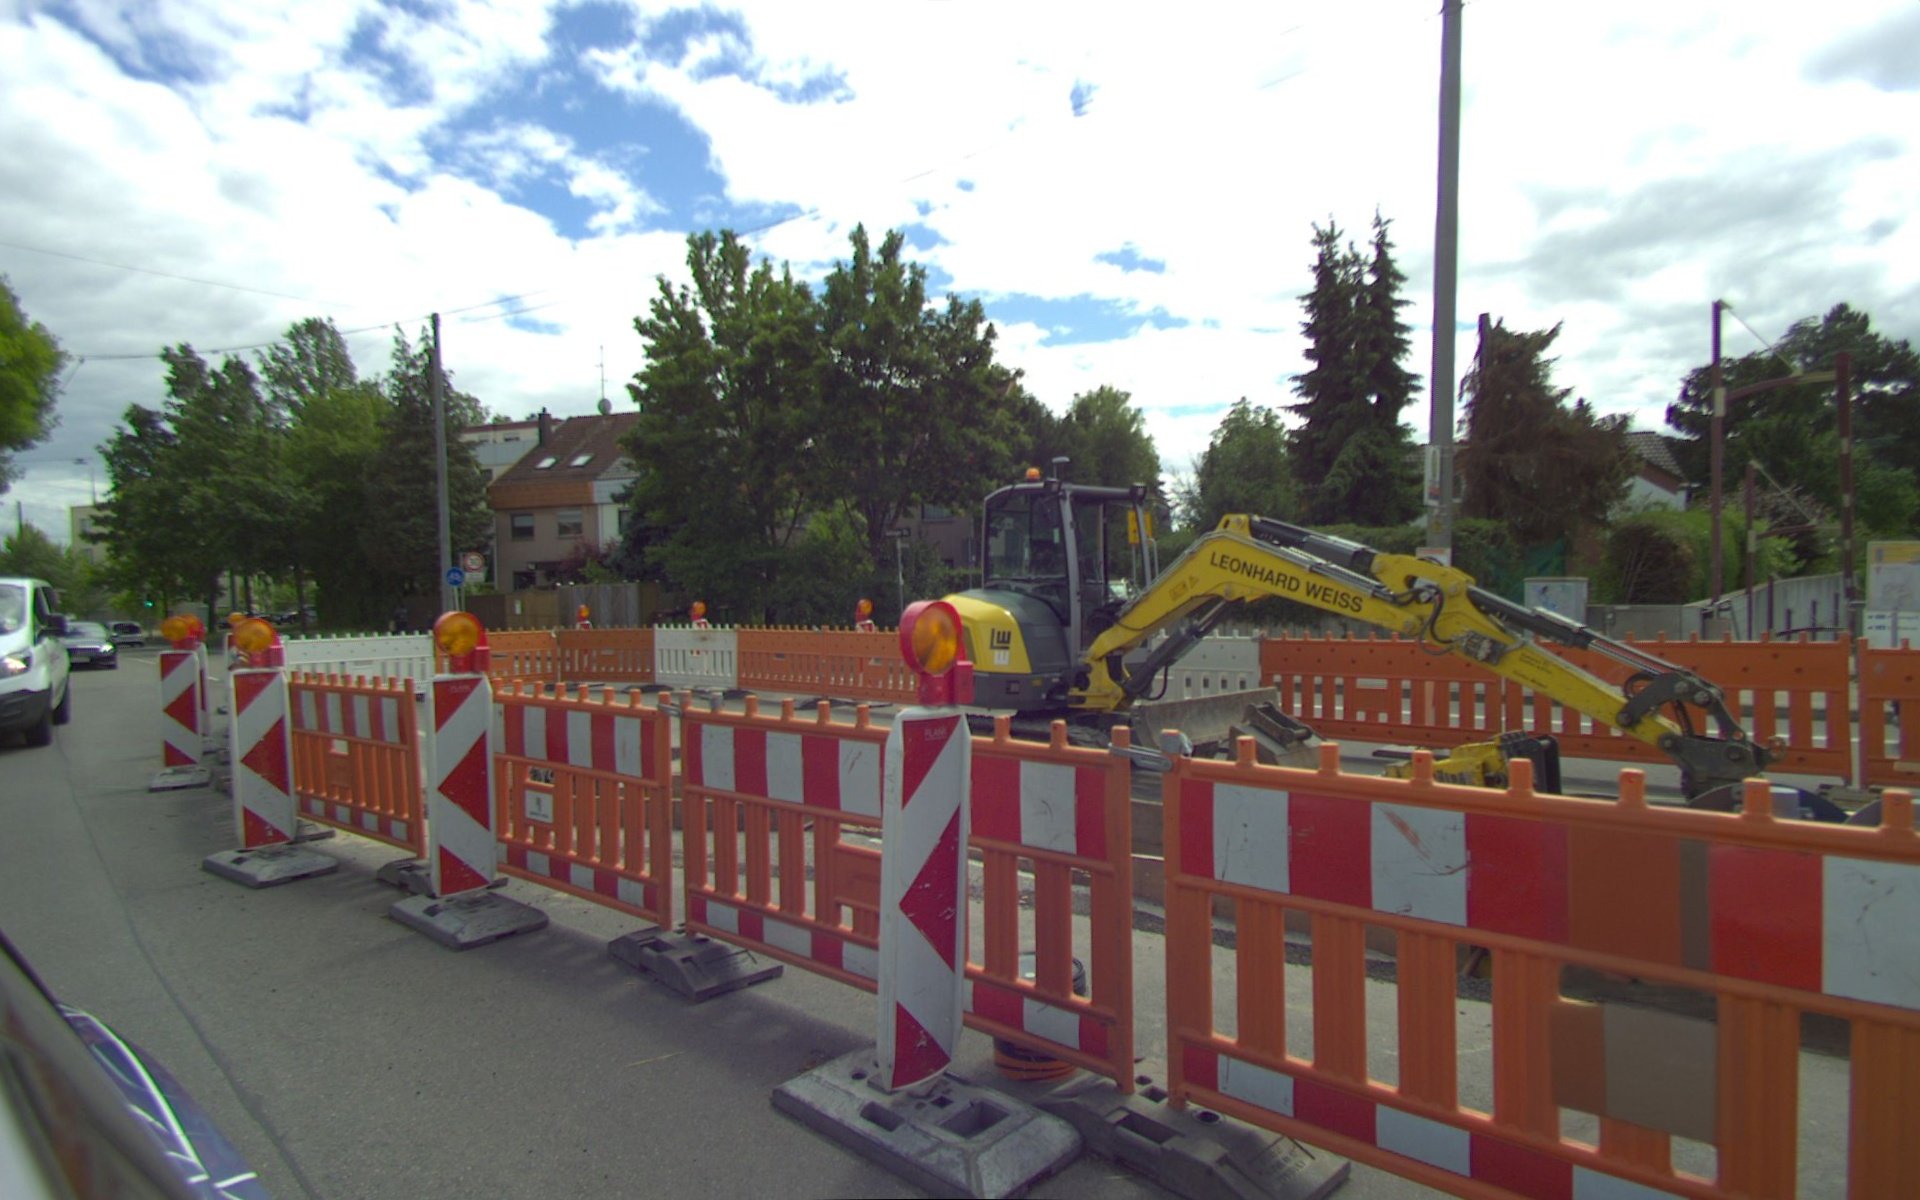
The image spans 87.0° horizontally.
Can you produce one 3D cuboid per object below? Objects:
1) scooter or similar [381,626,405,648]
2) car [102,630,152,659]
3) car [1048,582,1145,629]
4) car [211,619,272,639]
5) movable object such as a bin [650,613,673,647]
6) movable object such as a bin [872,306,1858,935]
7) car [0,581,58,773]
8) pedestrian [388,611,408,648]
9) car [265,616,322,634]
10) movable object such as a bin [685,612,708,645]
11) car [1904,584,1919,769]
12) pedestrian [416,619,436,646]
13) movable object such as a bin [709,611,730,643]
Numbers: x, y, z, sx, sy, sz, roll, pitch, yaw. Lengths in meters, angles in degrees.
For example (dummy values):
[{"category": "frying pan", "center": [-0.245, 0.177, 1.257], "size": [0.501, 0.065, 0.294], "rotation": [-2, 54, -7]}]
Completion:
[{"category": "scooter or similar", "center": [-23.793, 1.540, 42.434], "size": [0.628, 0.871, 1.031], "rotation": [-3, 1, -43]}, {"category": "car", "center": [-47.454, 2.486, 57.625], "size": [4.000, 1.524, 1.675], "rotation": [-1, 0, 43]}, {"category": "car", "center": [4.897, 0.181, 35.979], "size": [1.886, 1.545, 3.955], "rotation": [-1, 0, 34]}, {"category": "car", "center": [-63.331, 2.564, 89.275], "size": [1.984, 1.519, 3.977], "rotation": [-2, 1, 18]}, {"category": "movable object such as a bin", "center": [-9.061, 0.897, 30.708], "size": [0.495, 1.018, 0.470], "rotation": [-2, 0, 43]}, {"category": "movable object such as a bin", "center": [2.038, 0.120, 7.412], "size": [1.968, 2.645, 6.534], "rotation": [-1, 0, -39]}, {"category": "car", "center": [-12.464, 0.851, 12.426], "size": [1.970, 2.028, 5.520], "rotation": [-3, 2, -42]}, {"category": "pedestrian", "center": [-23.230, 1.223, 41.834], "size": [0.548, 1.492, 0.642], "rotation": [-3, 1, -44]}, {"category": "car", "center": [-61.907, 2.310, 94.062], "size": [1.985, 1.519, 3.973], "rotation": [-2, 1, 20]}, {"category": "movable object such as a bin", "center": [-8.014, 0.856, 30.782], "size": [0.545, 0.985, 0.368], "rotation": [-1, 0, 31]}, {"category": "car", "center": [10.114, 0.579, 7.548], "size": [4.441, 1.524, 1.834], "rotation": [-1, 0, 43]}, {"category": "pedestrian", "center": [-22.606, 1.376, 42.854], "size": [0.548, 1.094, 0.642], "rotation": [-3, 1, -44]}, {"category": "movable object such as a bin", "center": [-7.570, 0.848, 31.894], "size": [0.524, 0.985, 0.374], "rotation": [-1, 0, 31]}]
